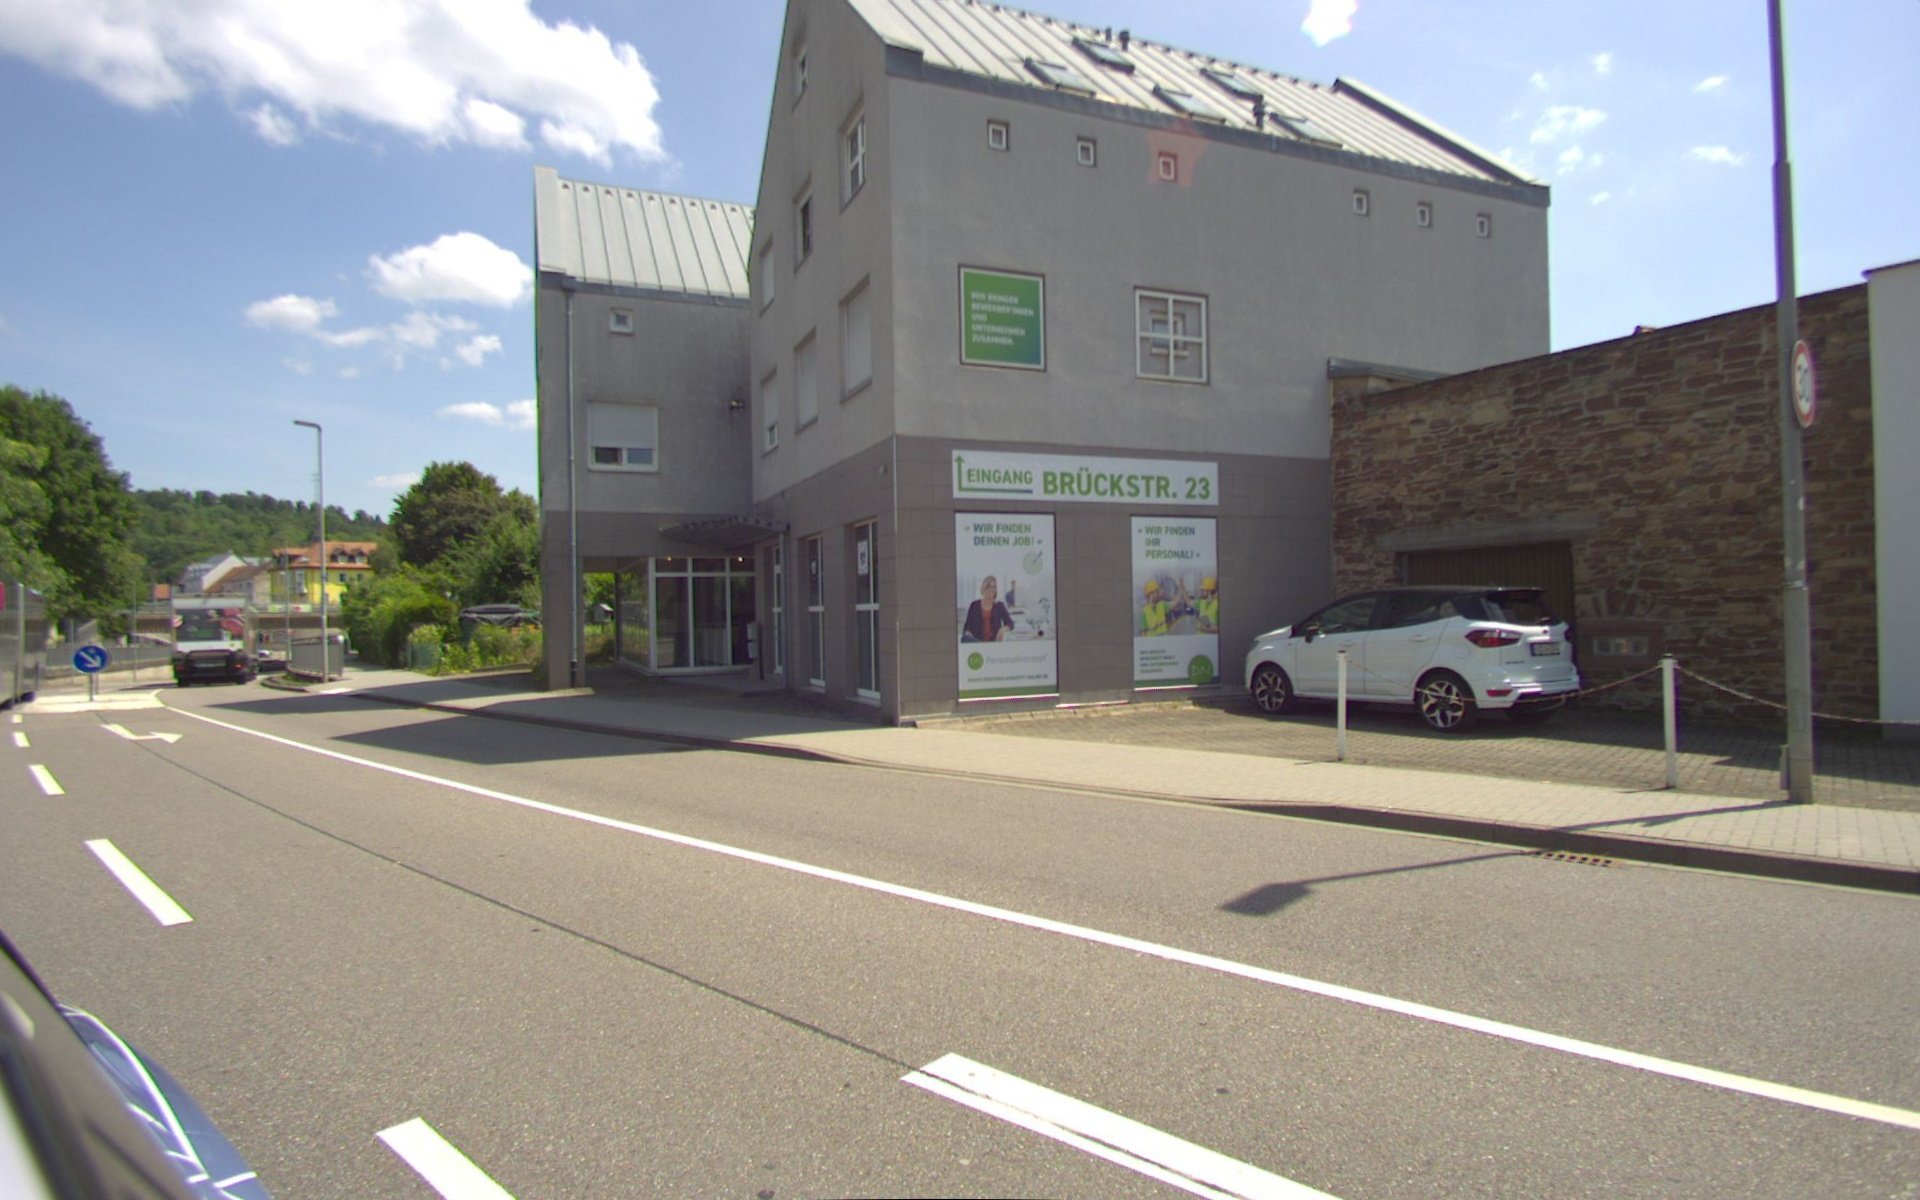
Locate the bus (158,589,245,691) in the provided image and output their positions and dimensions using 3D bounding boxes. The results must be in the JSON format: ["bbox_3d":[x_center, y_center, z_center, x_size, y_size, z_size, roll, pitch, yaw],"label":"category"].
[{"bbox_3d":[-34.051,1.899,45.504,2.774,4.032,10.990,-1,-3,-37],"label":"bus"}]

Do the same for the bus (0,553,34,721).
[{"bbox_3d":[-18.712,0.710,17.873,2.713,2.990,9.298,0,-4,-38],"label":"bus"}]

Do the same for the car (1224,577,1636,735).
[{"bbox_3d":[5.533,0.632,12.543,1.965,1.587,4.266,0,-2,-28],"label":"car"}]

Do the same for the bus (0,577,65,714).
[{"bbox_3d":[-24.489,1.243,25.171,2.713,2.990,9.298,0,-4,-38],"label":"bus"}]
